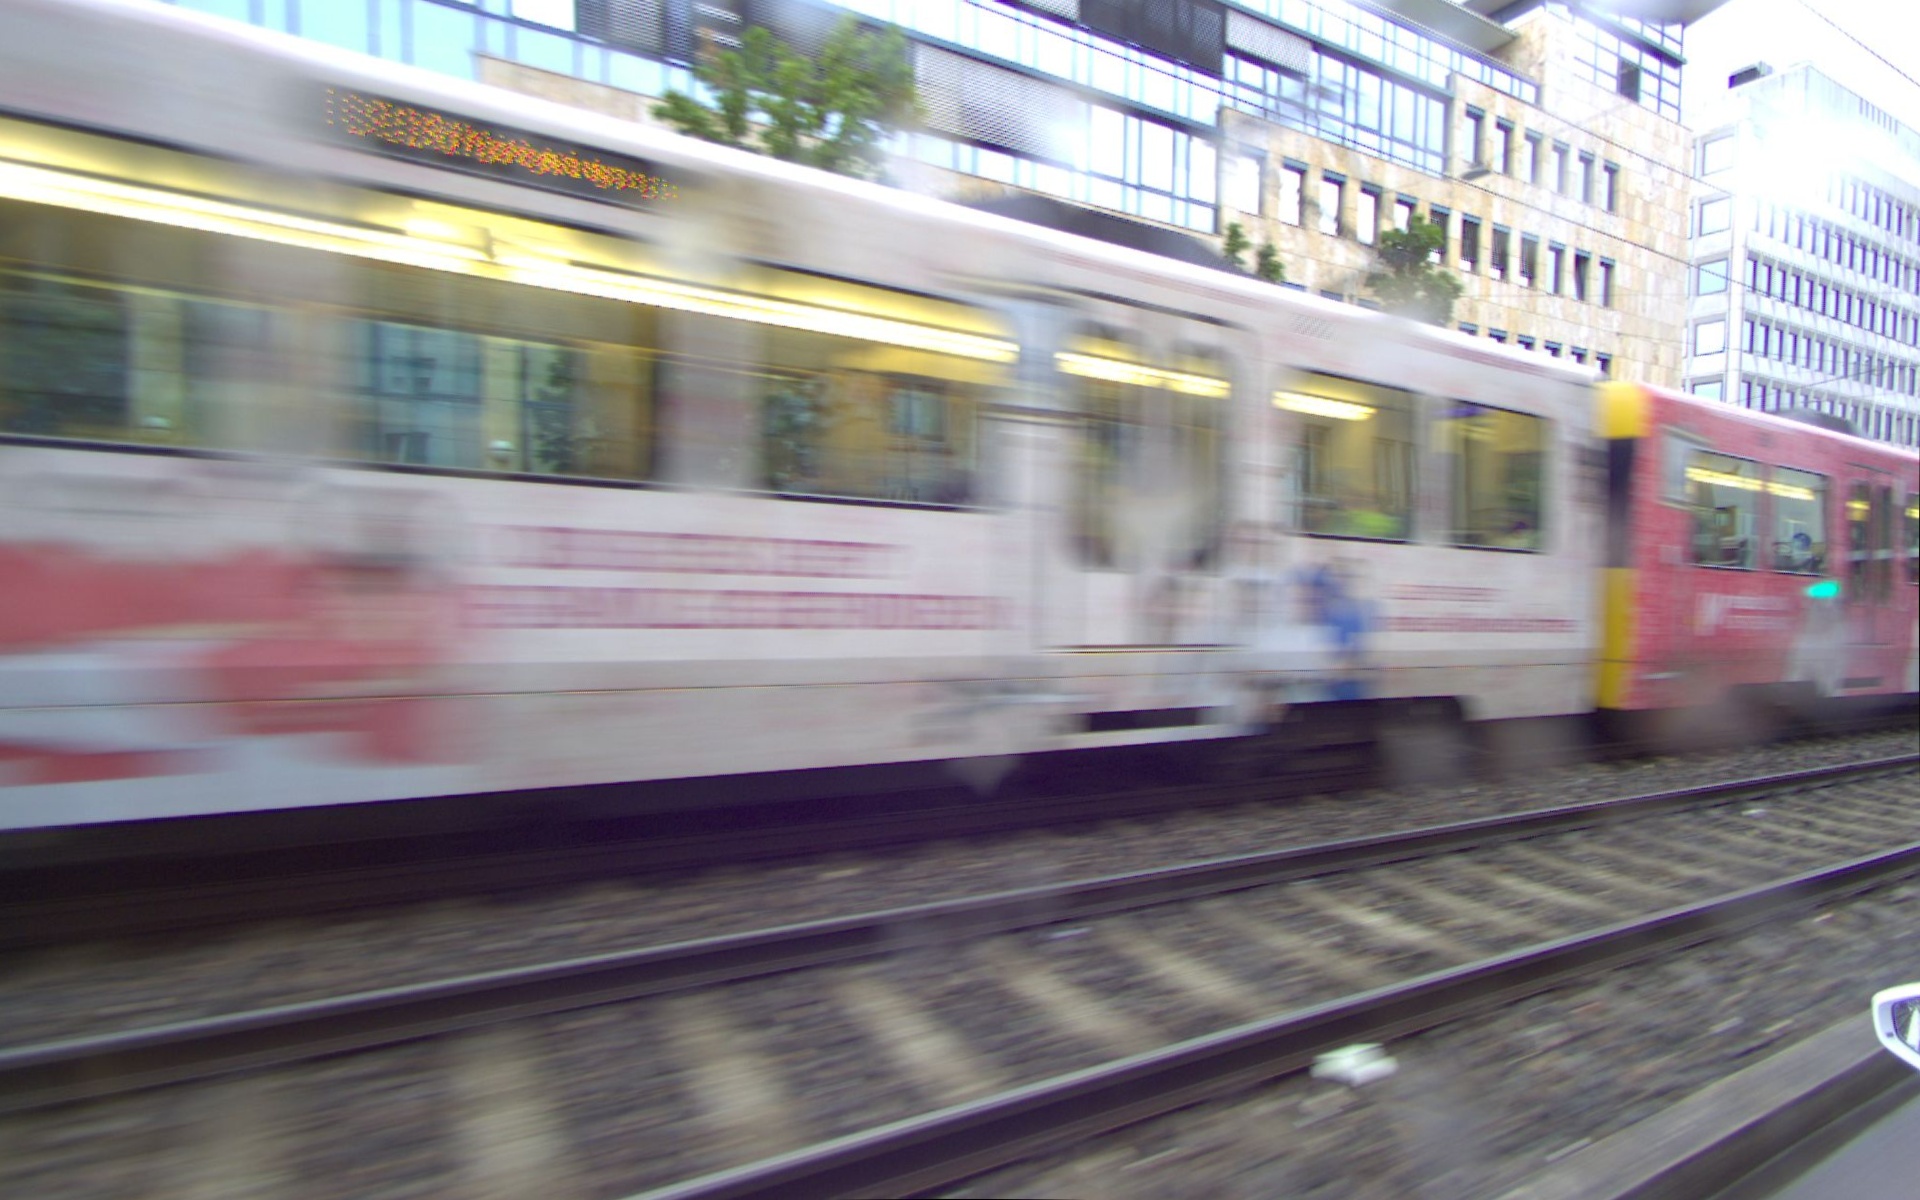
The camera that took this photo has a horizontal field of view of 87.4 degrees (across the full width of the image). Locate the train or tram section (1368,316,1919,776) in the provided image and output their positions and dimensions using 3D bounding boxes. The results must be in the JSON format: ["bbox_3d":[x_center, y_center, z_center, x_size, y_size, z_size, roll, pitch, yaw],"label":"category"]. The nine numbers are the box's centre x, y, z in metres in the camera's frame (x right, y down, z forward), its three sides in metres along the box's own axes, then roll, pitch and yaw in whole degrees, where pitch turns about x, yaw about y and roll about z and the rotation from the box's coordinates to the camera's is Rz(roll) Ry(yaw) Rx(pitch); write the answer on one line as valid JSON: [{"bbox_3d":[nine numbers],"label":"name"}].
[{"bbox_3d":[13.360,-0.339,14.955,18.550,4.104,2.887,1,0,-31],"label":"train or tram section"}]

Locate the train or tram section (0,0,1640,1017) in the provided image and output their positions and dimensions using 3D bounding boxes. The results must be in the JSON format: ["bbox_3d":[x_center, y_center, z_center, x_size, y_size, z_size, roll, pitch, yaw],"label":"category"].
[{"bbox_3d":[-2.583,-0.631,5.415,18.198,4.104,2.887,1,0,-31],"label":"train or tram section"}]
